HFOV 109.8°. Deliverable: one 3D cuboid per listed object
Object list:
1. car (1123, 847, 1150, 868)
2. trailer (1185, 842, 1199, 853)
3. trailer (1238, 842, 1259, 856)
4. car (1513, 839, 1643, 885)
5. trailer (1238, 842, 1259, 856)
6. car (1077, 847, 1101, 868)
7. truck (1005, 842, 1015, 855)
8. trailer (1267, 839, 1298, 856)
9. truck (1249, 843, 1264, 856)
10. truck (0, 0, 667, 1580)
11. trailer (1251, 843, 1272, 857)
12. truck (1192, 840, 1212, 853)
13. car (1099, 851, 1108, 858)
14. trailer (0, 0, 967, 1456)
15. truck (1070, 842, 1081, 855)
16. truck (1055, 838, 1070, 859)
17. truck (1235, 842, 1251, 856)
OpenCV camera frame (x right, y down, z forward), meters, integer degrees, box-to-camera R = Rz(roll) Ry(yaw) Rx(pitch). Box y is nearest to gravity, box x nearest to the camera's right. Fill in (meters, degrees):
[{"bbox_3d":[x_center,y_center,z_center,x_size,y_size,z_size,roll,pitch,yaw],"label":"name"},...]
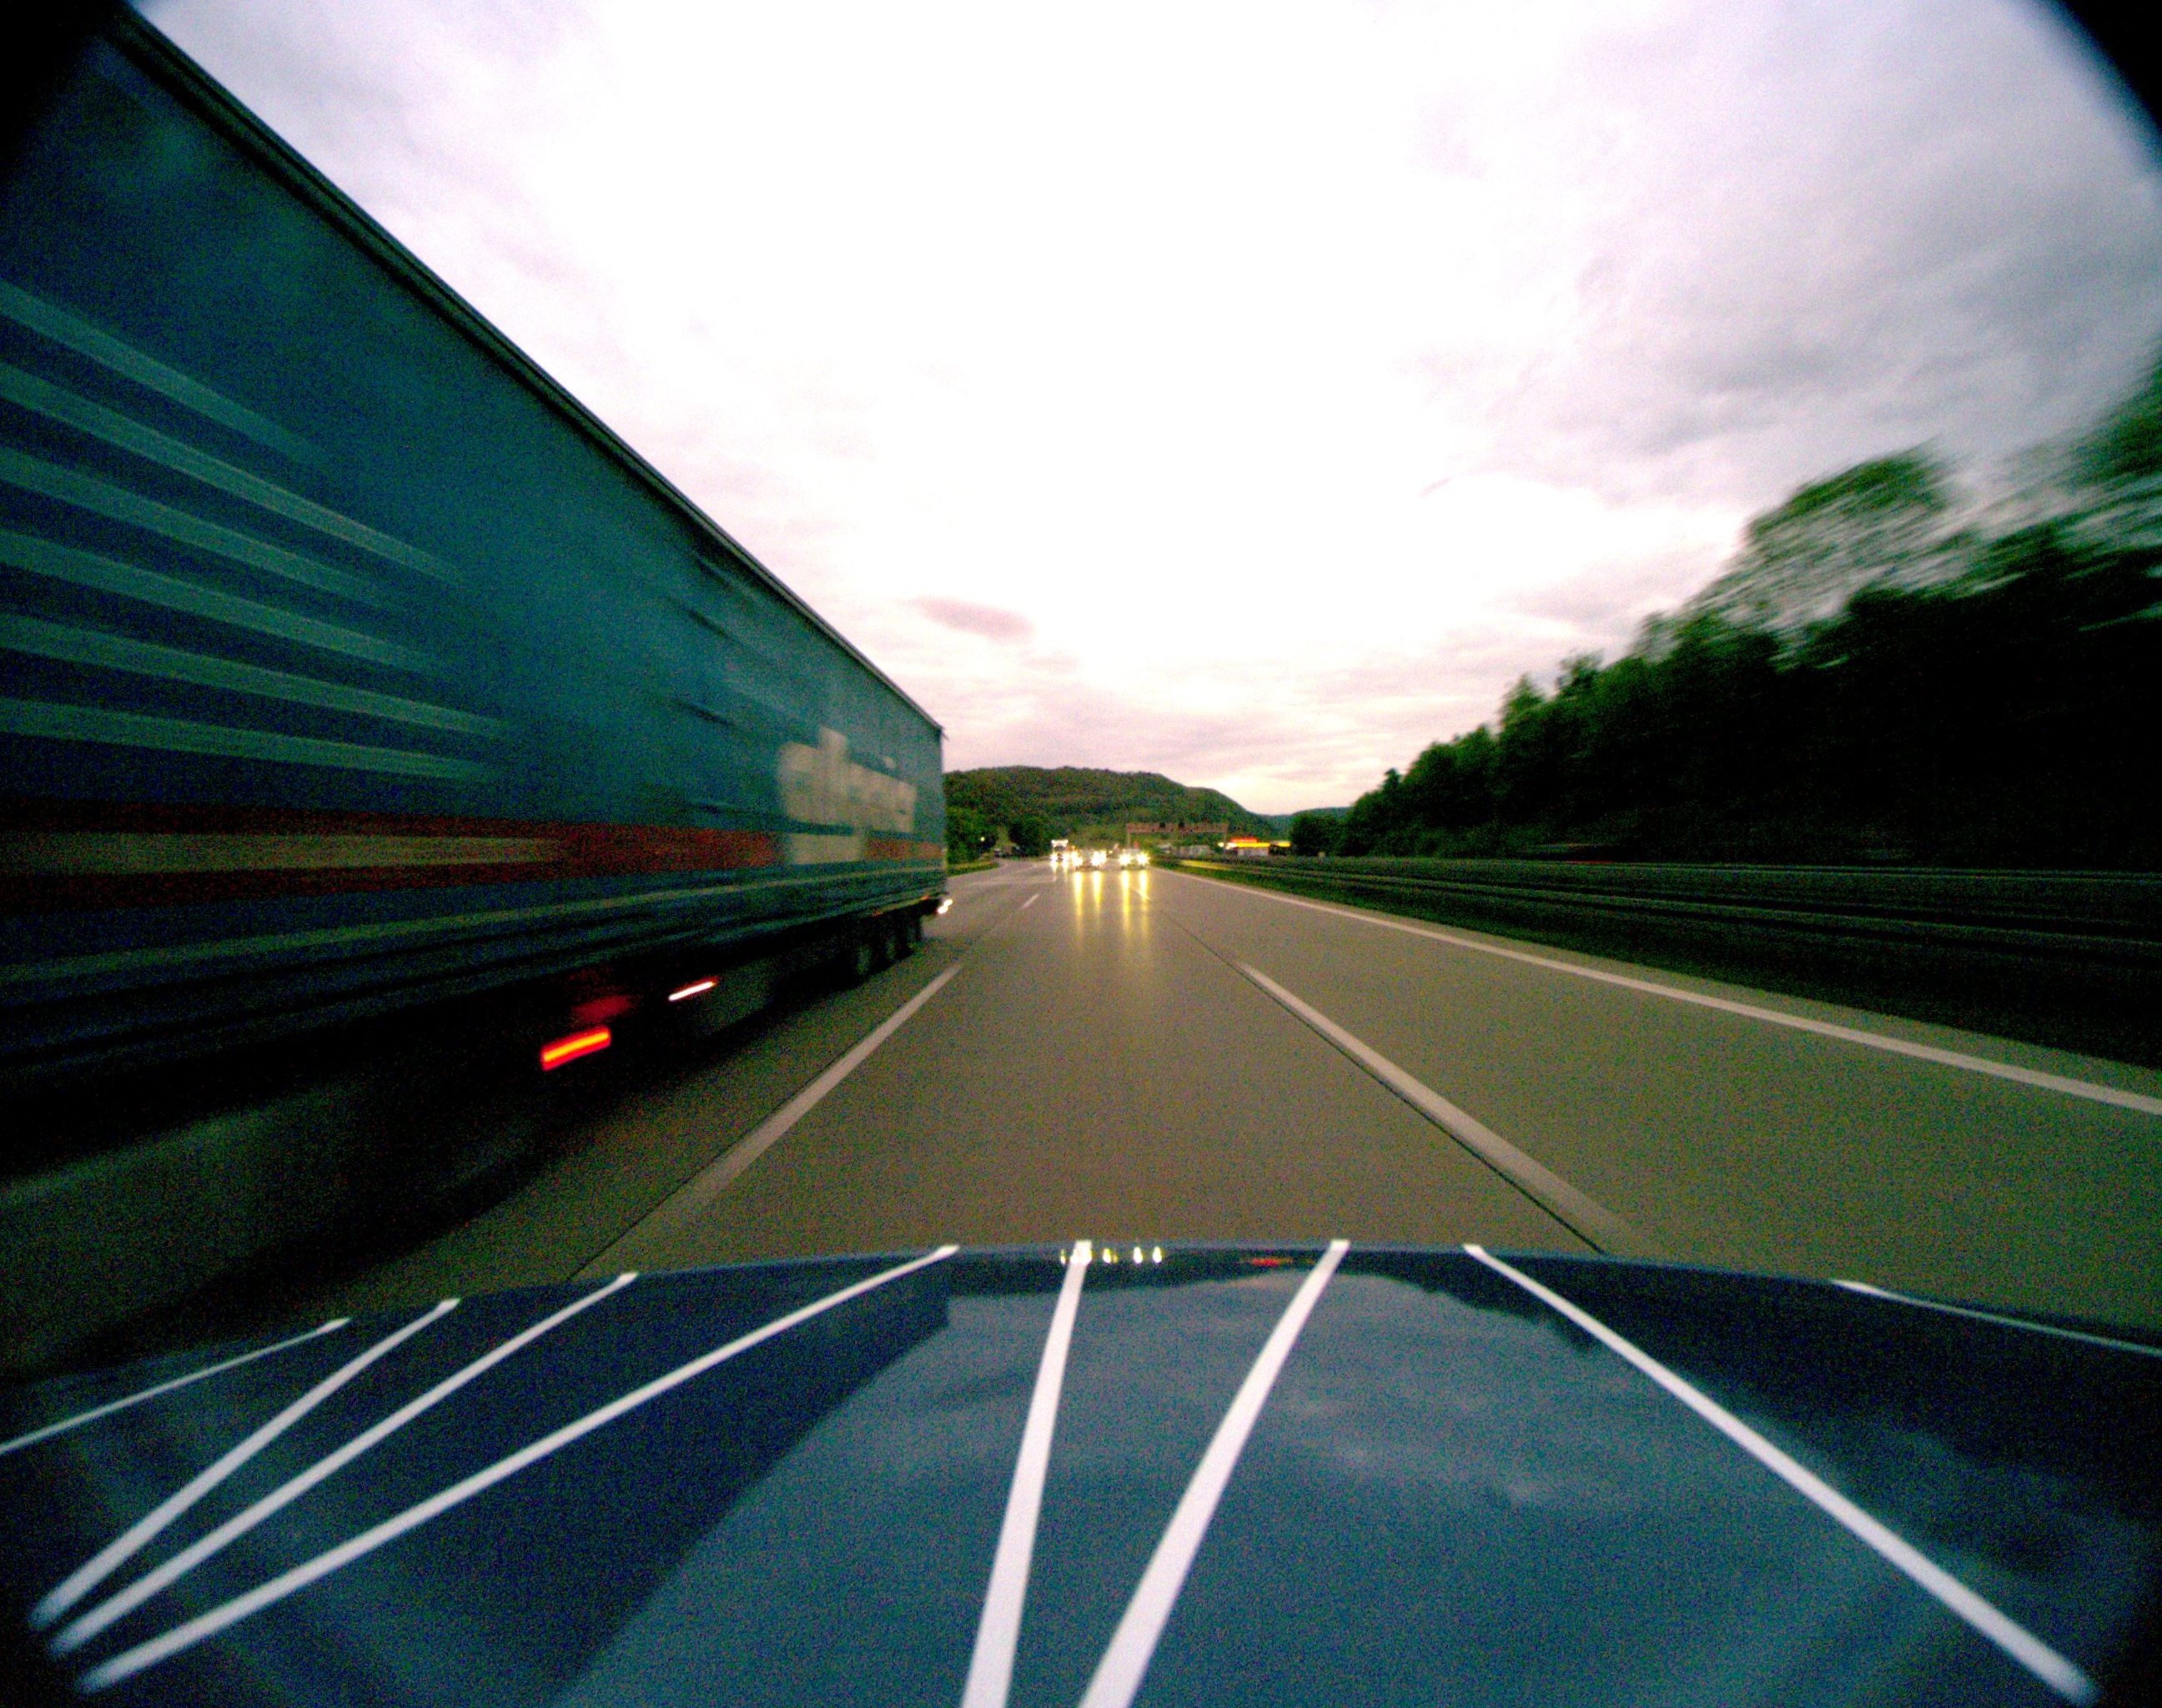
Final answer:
[{"bbox_3d":[4.658,0.270,64.397,1.894,1.650,5.639,-2,1,1],"label":"car"},{"bbox_3d":[35.959,-2.025,246.214,2.880,3.405,13.851,-1,0,1],"label":"trailer"},{"bbox_3d":[50.440,-1.500,229.787,3.025,4.235,15.946,-1,0,1],"label":"trailer"},{"bbox_3d":[20.918,0.282,32.352,1.853,1.724,5.660,-1,1,0],"label":"car"},{"bbox_3d":[50.551,-1.503,229.785,3.025,4.235,15.946,-1,0,1],"label":"trailer"},{"bbox_3d":[0.692,0.263,64.030,1.927,1.674,4.806,0,1,2],"label":"car"},{"bbox_3d":[-21.259,-1.573,227.864,2.847,3.893,11.981,-1,1,-6],"label":"truck"},{"bbox_3d":[46.396,-1.457,174.574,3.063,3.657,13.368,-1,0,31],"label":"trailer"},{"bbox_3d":[50.105,-1.178,217.014,2.880,3.619,7.028,-1,0,2],"label":"truck"},{"bbox_3d":[-3.946,-0.254,1.599,2.743,3.973,5.848,-2,1,1],"label":"truck"},{"bbox_3d":[49.922,-1.159,210.146,2.880,3.657,12.716,-1,0,1],"label":"trailer"},{"bbox_3d":[35.220,-2.106,221.916,2.881,3.405,13.784,-1,0,-4],"label":"truck"},{"bbox_3d":[4.919,0.044,167.819,1.898,1.503,3.999,-1,0,-1],"label":"car"},{"bbox_3d":[-3.897,-0.351,9.008,2.779,4.063,13.737,-2,1,0],"label":"trailer"},{"bbox_3d":[-1.783,-1.604,237.607,3.120,3.850,14.161,2,1,0],"label":"truck"},{"bbox_3d":[-3.468,-1.058,141.165,2.623,3.805,10.383,-1,1,-2],"label":"truck"},{"bbox_3d":[50.619,-1.572,237.858,3.025,4.235,8.864,-1,0,1],"label":"truck"}]
